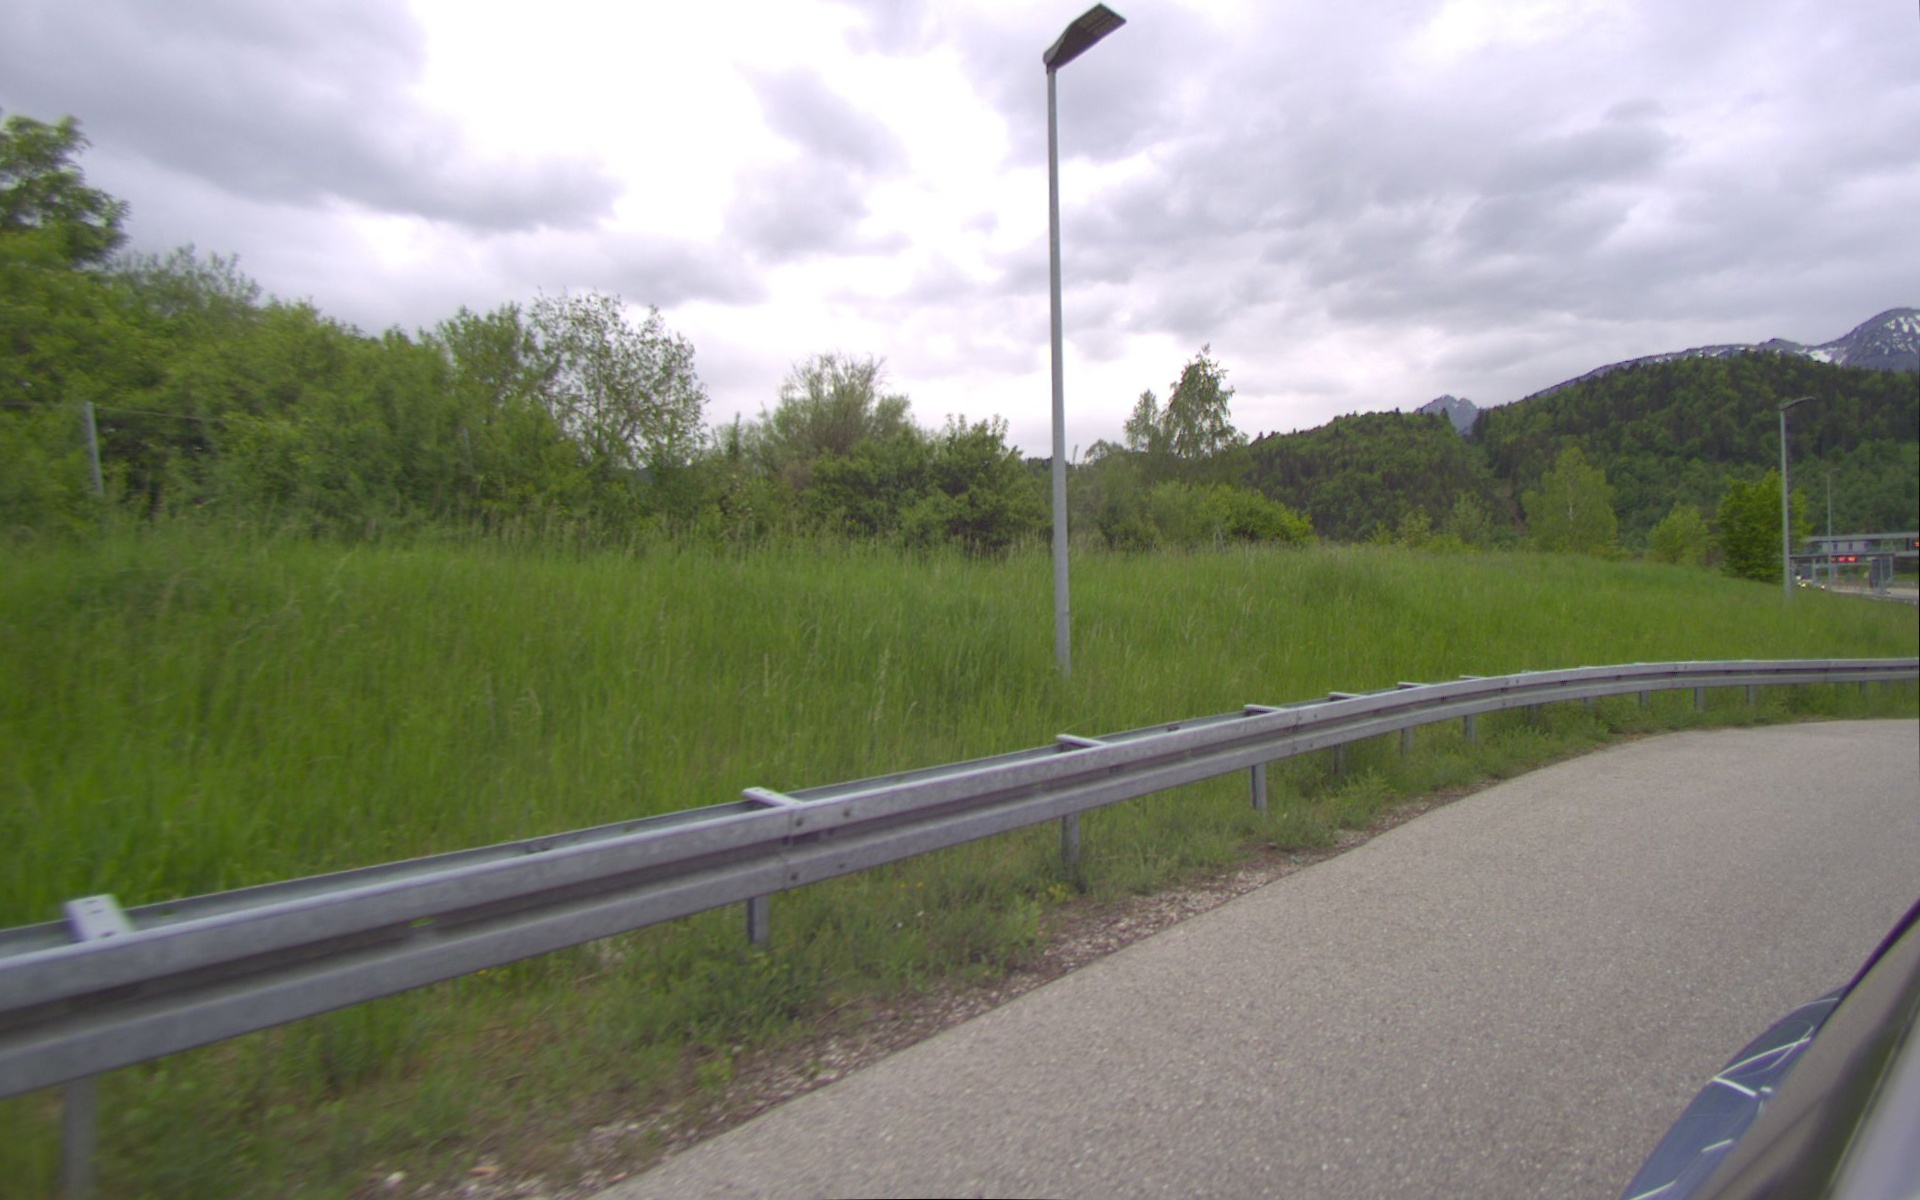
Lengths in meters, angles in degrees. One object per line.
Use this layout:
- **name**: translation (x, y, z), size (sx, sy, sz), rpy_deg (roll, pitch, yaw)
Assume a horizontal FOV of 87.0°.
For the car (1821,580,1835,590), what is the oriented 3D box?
- **car**: translation (158.392, -2.728, 184.762), size (1.729, 1.677, 3.946), rpy_deg (1, 1, 38)
